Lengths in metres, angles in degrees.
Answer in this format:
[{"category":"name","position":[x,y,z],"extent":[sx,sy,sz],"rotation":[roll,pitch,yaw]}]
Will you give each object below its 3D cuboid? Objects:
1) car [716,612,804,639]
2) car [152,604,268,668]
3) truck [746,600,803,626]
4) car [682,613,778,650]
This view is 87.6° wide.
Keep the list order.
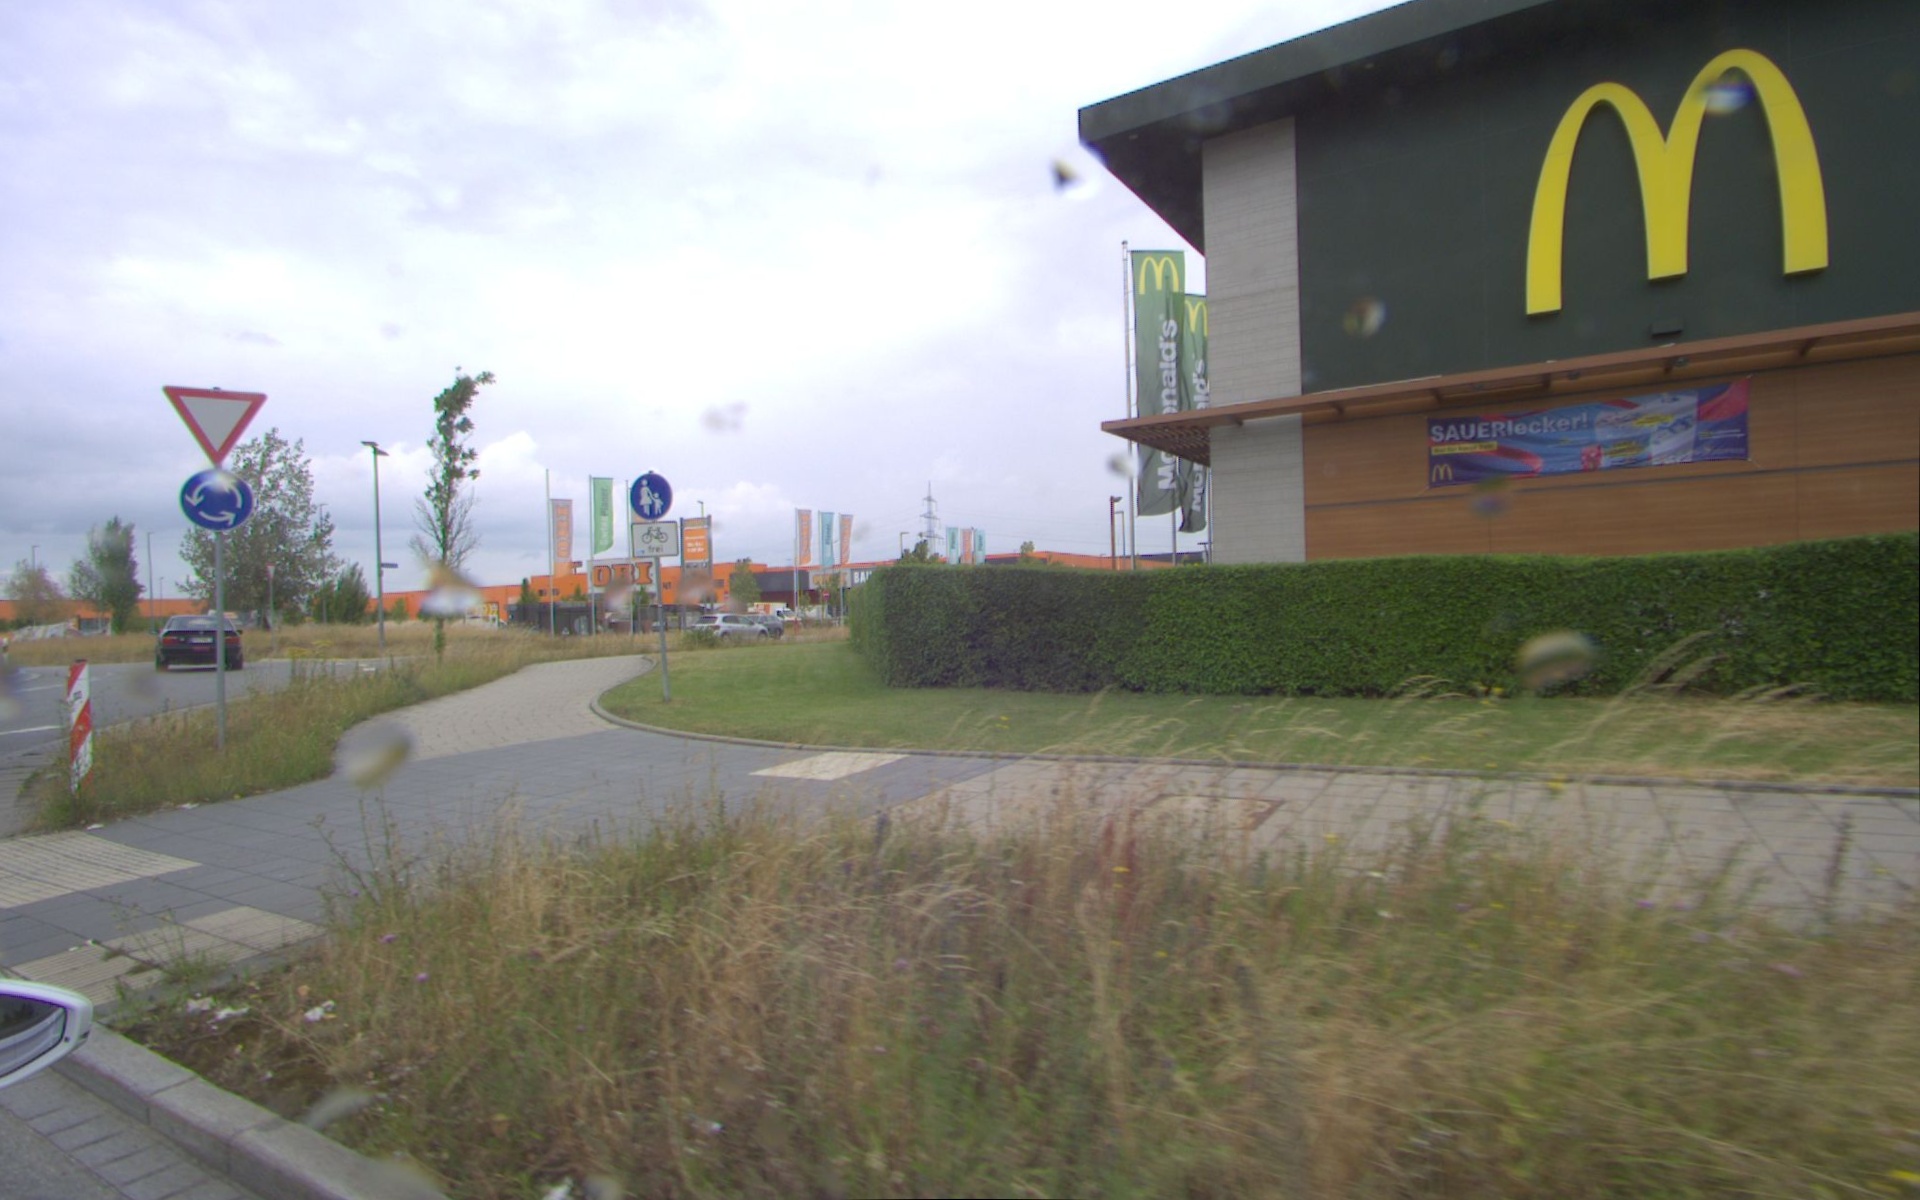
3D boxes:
[{"category":"car","position":[-10.937,1.423,54.937],"extent":[1.904,1.421,4.656],"rotation":[-1,-2,38]},{"category":"car","position":[-18.543,0.828,24.913],"extent":[1.718,1.422,3.978],"rotation":[0,0,-28]},{"category":"truck","position":[-19.713,1.412,106.464],"extent":[5.461,2.515,2.434],"rotation":[-3,-3,24]},{"category":"car","position":[-10.094,1.346,44.153],"extent":[1.789,1.483,3.975],"rotation":[2,0,36]}]
